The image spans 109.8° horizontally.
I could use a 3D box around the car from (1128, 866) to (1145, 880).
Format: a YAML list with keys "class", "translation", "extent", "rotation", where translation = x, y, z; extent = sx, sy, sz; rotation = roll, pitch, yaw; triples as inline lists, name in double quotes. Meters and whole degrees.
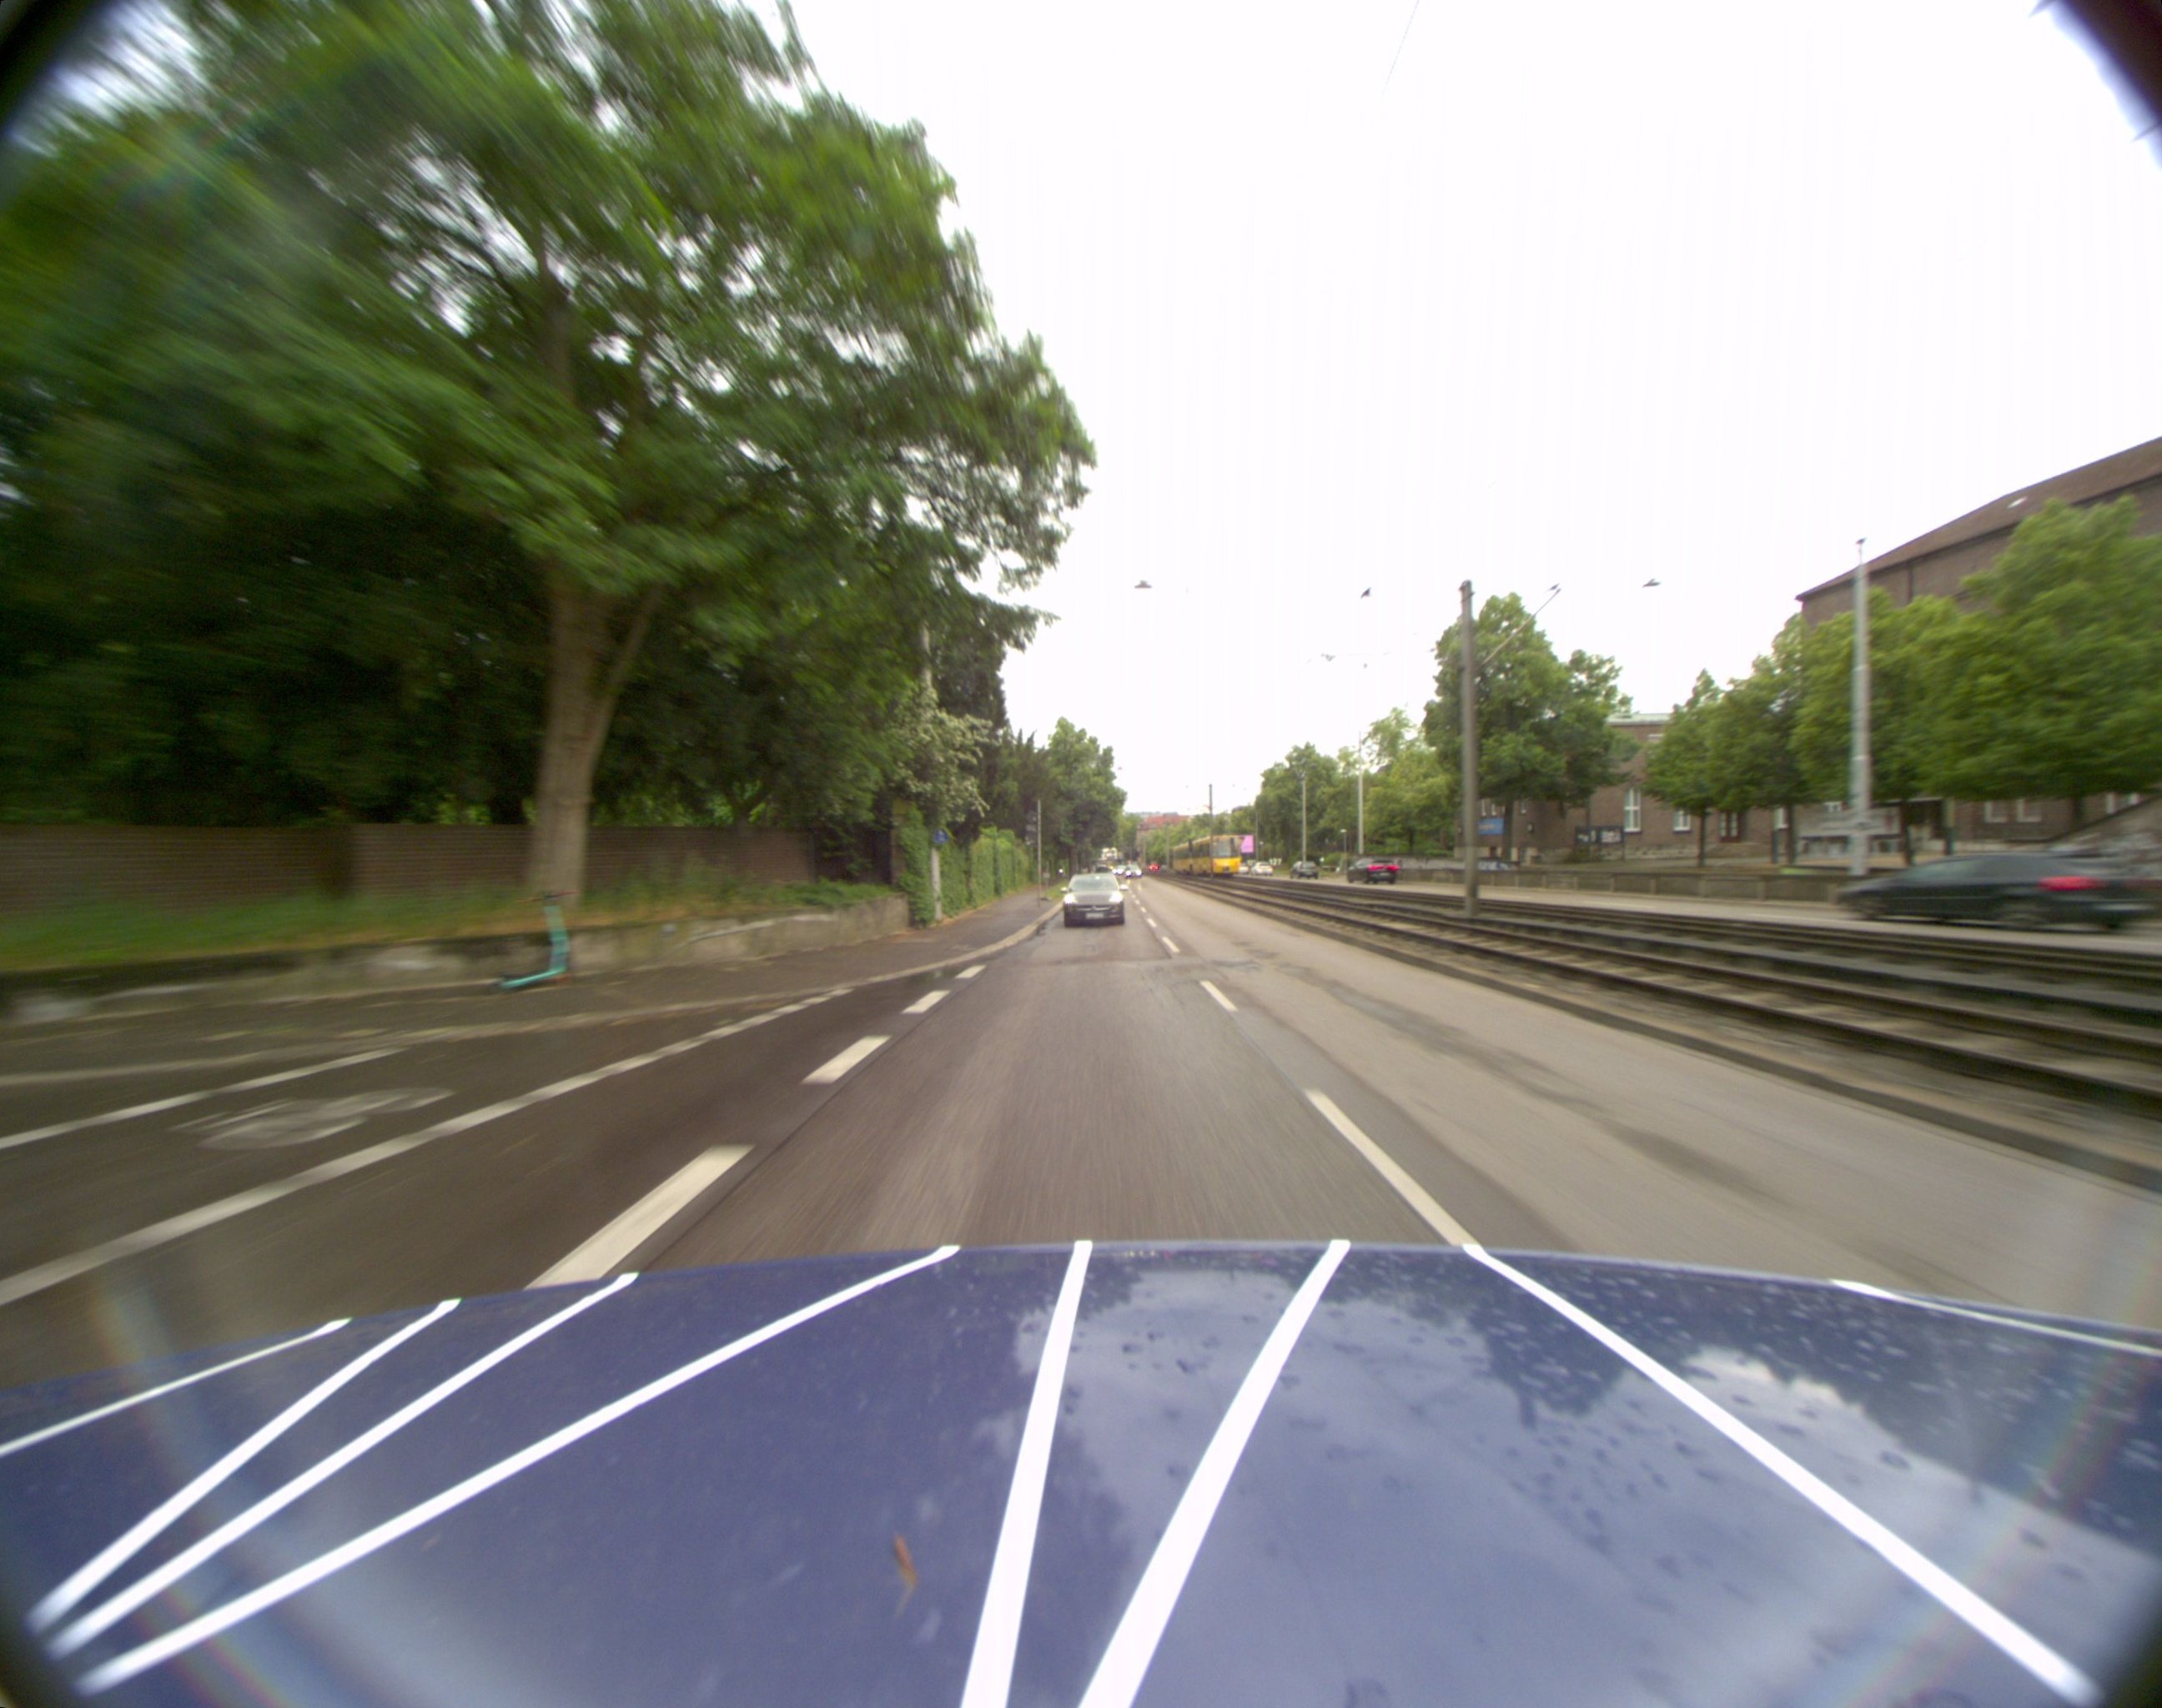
- class: "car"
  translation: [6.090, 2.056, 82.953]
  extent: [1.768, 1.502, 4.342]
  rotation: [-2, -1, 4]

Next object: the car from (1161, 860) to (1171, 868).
- class: "car"
  translation: [17.832, 2.134, 159.730]
  extent: [1.691, 1.628, 4.341]
  rotation: [-2, -1, 1]

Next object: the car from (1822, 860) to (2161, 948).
- class: "car"
  translation: [17.590, 0.847, 14.837]
  extent: [1.970, 1.432, 4.321]
  rotation: [-1, 0, -1]

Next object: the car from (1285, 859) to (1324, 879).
- class: "car"
  translation: [18.814, 1.251, 64.056]
  extent: [1.998, 1.634, 4.412]
  rotation: [0, 0, 0]

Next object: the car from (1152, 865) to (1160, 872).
- class: "car"
  translation: [18.403, 3.551, 186.438]
  extent: [1.691, 1.385, 4.341]
  rotation: [-2, -1, 1]

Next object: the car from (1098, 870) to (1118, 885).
- class: "car"
  translation: [2.937, 2.530, 83.355]
  extent: [1.769, 1.502, 4.340]
  rotation: [-2, -1, -2]

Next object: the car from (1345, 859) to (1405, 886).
- class: "car"
  translation: [18.307, 1.106, 47.506]
  extent: [1.998, 1.634, 4.525]
  rotation: [0, 0, 0]

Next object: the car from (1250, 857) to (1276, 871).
- class: "car"
  translation: [19.537, 1.066, 81.668]
  extent: [1.751, 1.459, 3.985]
  rotation: [1, -1, 0]

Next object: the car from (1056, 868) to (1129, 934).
- class: "car"
  translation: [0.407, 1.237, 21.499]
  extent: [1.746, 1.544, 4.495]
  rotation: [-3, -1, 3]

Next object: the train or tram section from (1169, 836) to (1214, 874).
- class: "train or tram section"
  translation: [12.848, 0.171, 90.411]
  extent: [2.835, 3.952, 20.031]
  rotation: [-2, -1, 1]

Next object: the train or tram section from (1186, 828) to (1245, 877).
- class: "train or tram section"
  translation: [12.348, -0.025, 71.715]
  extent: [2.835, 3.952, 17.880]
  rotation: [-2, -1, 2]

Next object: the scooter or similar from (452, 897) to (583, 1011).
- class: "scooter or similar"
  translation: [-6.978, 1.199, 9.478]
  extent: [0.515, 1.223, 1.315]
  rotation: [2, 1, 8]
